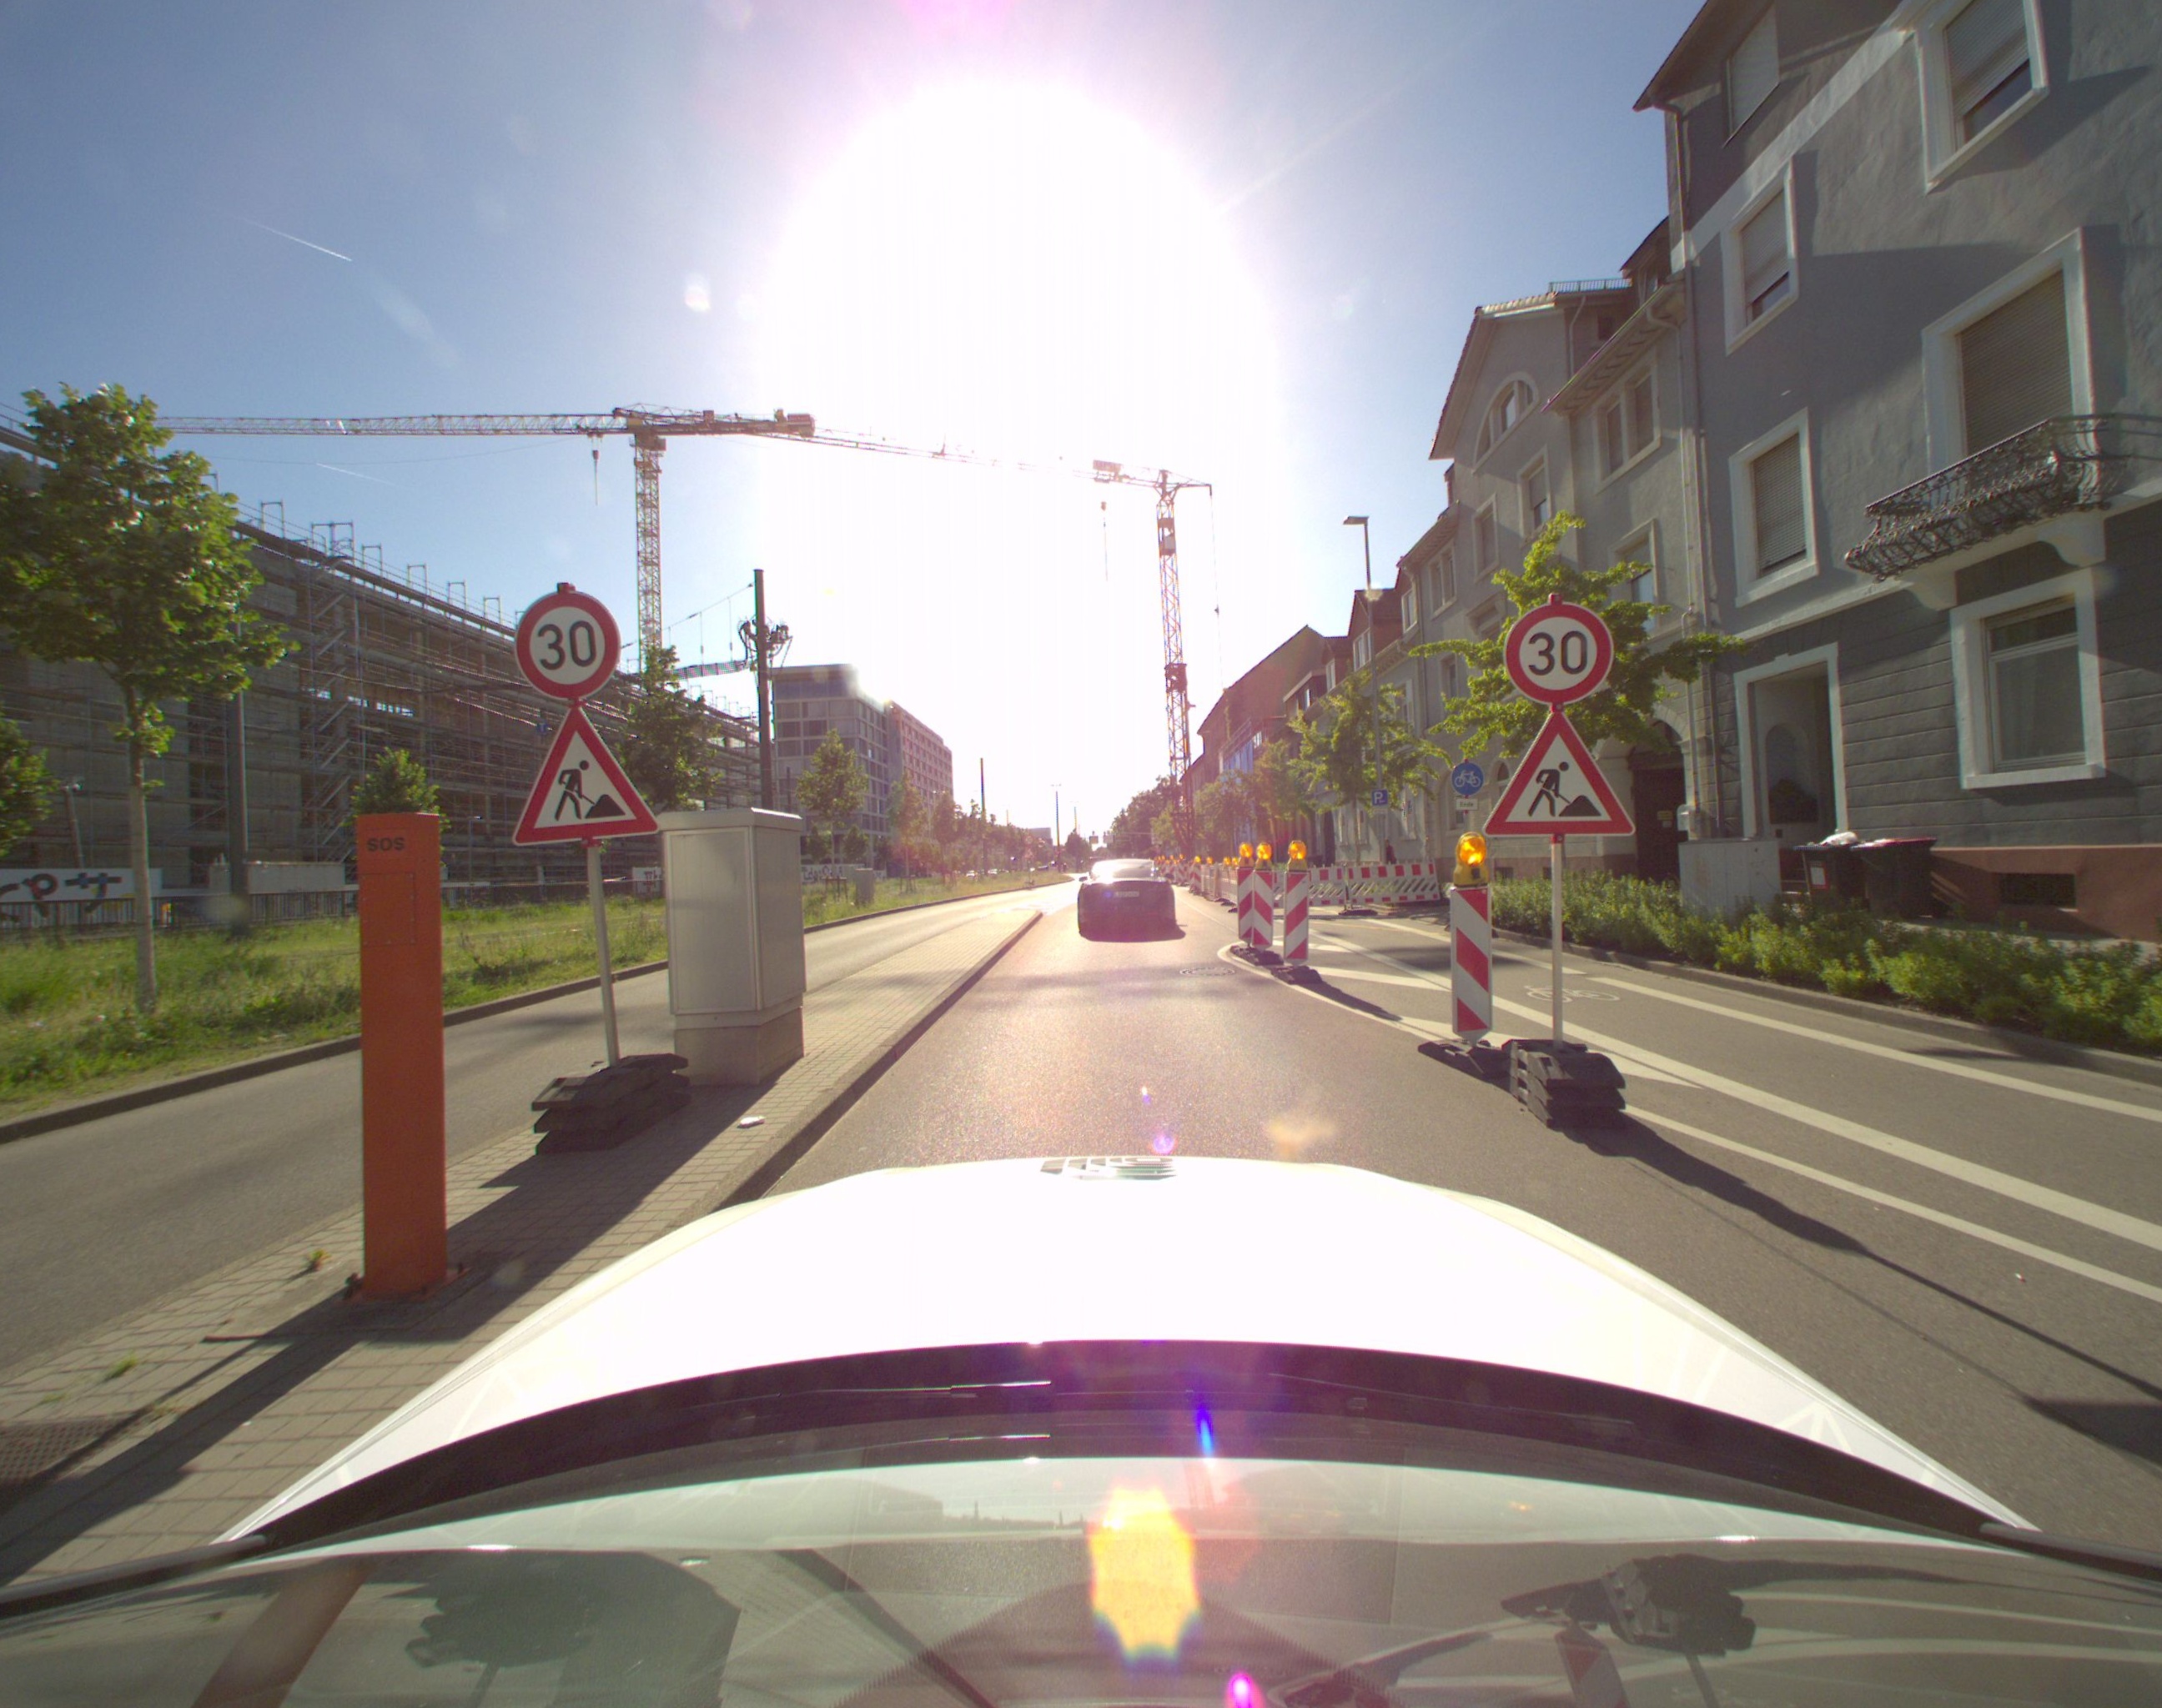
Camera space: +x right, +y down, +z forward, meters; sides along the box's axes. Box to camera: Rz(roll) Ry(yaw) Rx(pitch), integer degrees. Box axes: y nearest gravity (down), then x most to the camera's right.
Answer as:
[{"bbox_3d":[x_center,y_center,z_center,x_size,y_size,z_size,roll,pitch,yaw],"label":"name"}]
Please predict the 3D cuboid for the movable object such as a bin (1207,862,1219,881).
[{"bbox_3d":[7.402,0.962,45.628,0.585,1.058,0.731,-2,-1,2],"label":"movable object such as a bin"}]

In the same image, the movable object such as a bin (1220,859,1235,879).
[{"bbox_3d":[8.266,0.866,45.938,0.593,1.058,0.731,-6,-1,2],"label":"movable object such as a bin"}]

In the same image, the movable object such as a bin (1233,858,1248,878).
[{"bbox_3d":[8.937,0.779,45.673,0.586,1.057,0.783,-7,0,-3],"label":"movable object such as a bin"}]

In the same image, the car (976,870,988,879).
[{"bbox_3d":[-19.895,4.109,163.627,1.783,1.651,4.002,-3,-1,2],"label":"car"}]

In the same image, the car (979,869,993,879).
[{"bbox_3d":[-17.715,3.684,152.152,1.783,1.651,4.002,-3,-1,2],"label":"car"}]

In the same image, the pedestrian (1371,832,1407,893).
[{"bbox_3d":[10.151,0.277,26.820,0.792,1.928,0.768,-2,-1,-6],"label":"pedestrian"}]

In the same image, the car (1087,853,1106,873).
[{"bbox_3d":[1.908,1.087,99.328,2.210,2.267,4.484,-1,0,1],"label":"car"}]

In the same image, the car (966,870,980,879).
[{"bbox_3d":[-20.426,3.848,153.962,1.783,1.651,4.002,-3,-1,2],"label":"car"}]

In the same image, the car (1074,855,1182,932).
[{"bbox_3d":[0.962,0.777,17.806,2.044,1.444,4.525,-1,-1,1],"label":"car"}]

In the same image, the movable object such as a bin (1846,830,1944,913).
[{"bbox_3d":[11.066,0.234,11.090,0.600,1.082,0.704,-2,-1,2],"label":"movable object such as a bin"}]

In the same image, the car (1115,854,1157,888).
[{"bbox_3d":[2.531,0.776,38.340,1.741,1.427,4.839,-2,-1,2],"label":"car"}]

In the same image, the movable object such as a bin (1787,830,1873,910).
[{"bbox_3d":[10.935,0.227,11.911,0.586,1.108,0.704,-2,-1,2],"label":"movable object such as a bin"}]
